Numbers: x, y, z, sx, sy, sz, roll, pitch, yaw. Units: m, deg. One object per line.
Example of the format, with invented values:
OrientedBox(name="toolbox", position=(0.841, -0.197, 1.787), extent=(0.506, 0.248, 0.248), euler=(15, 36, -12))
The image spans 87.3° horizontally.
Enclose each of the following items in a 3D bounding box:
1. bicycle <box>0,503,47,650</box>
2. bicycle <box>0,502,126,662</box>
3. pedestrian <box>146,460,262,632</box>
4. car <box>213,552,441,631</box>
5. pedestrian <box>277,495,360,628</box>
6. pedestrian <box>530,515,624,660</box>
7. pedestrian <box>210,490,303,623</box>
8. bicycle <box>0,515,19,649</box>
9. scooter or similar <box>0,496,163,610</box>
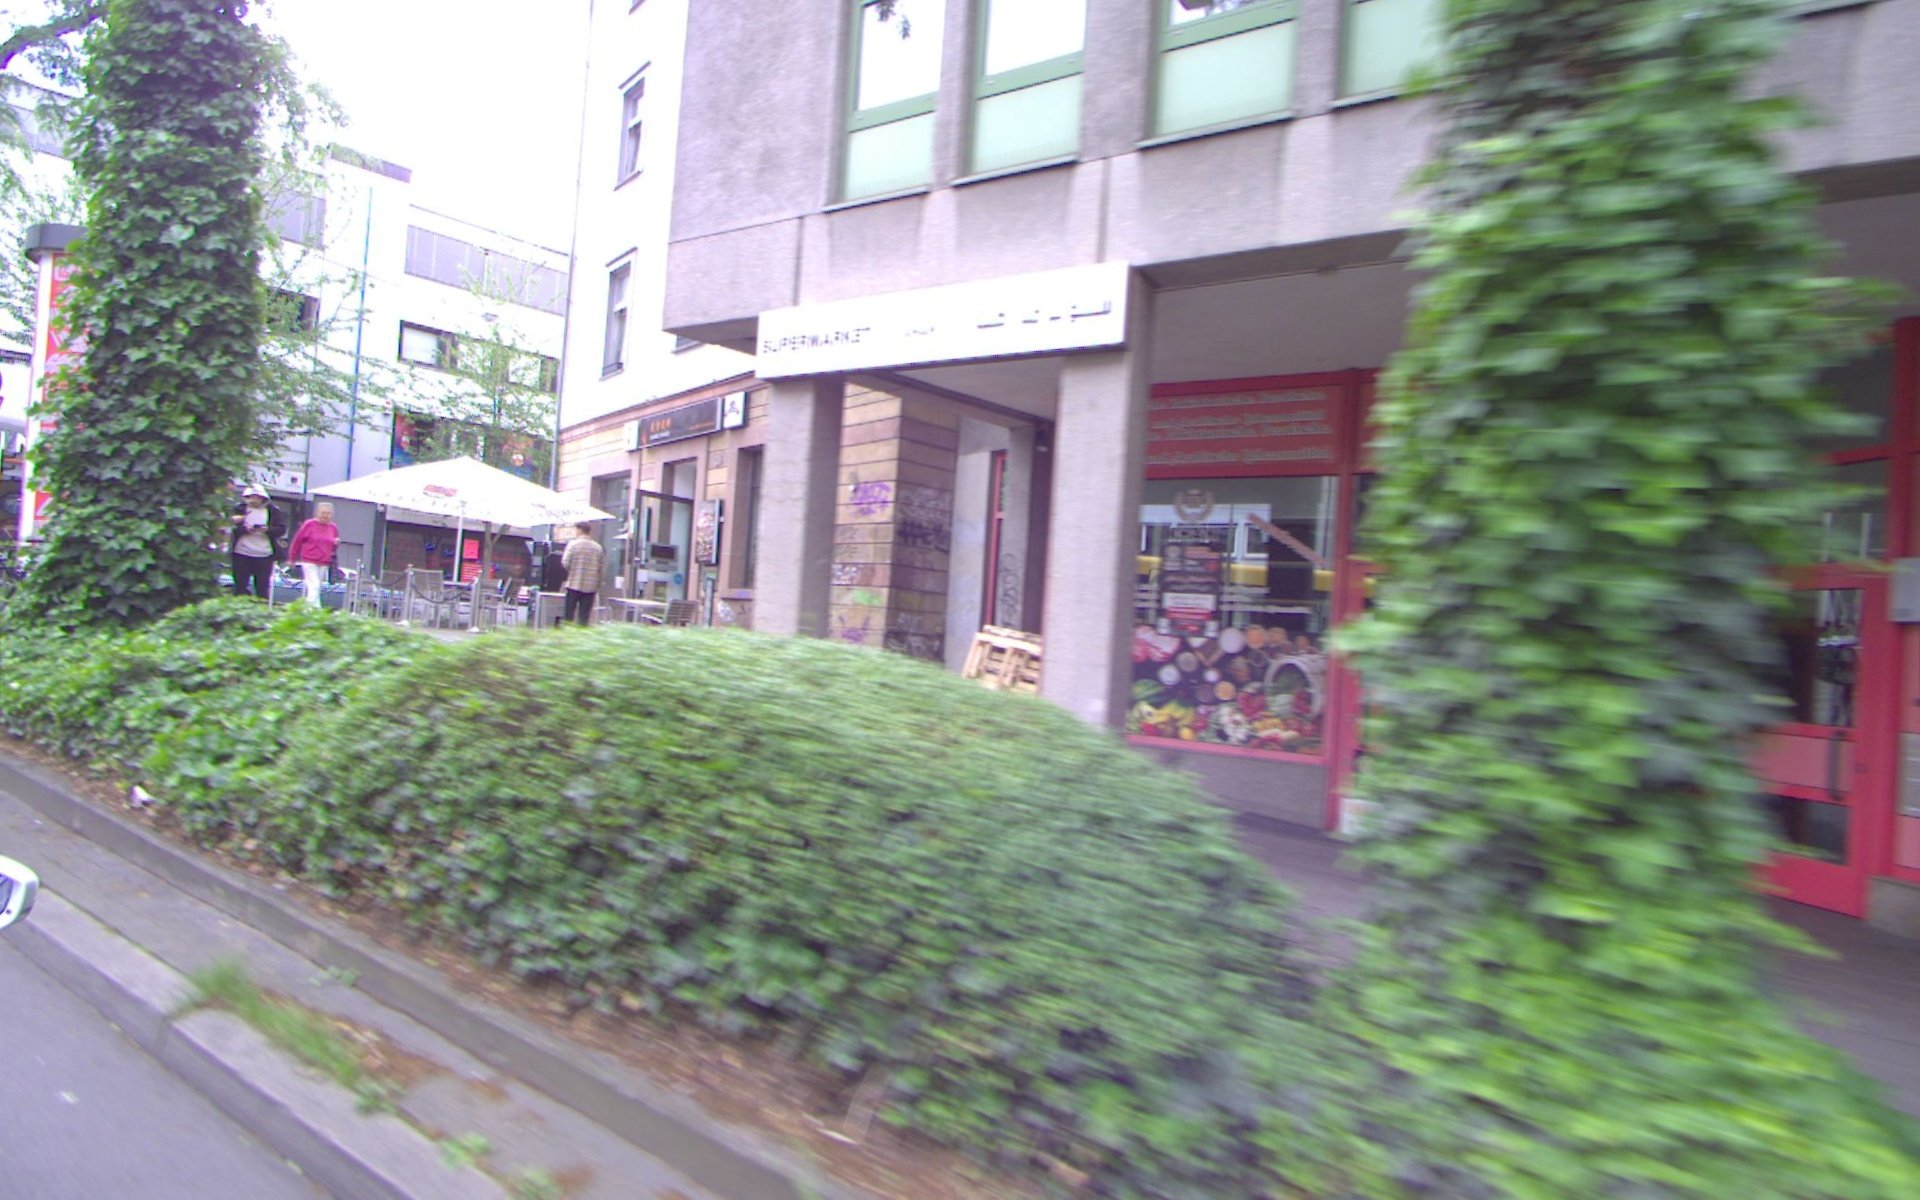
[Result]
OrientedBox(name="bicycle", position=(-8.572, -0.255, 8.041), extent=(0.532, 1.237, 1.744), euler=(7, 0, 27))
OrientedBox(name="bicycle", position=(-7.796, -0.175, 7.949), extent=(0.532, 1.236, 1.691), euler=(7, -1, 27))
OrientedBox(name="pedestrian", position=(-8.994, -0.639, 11.968), extent=(0.867, 1.912, 0.705), euler=(7, -1, 37))
OrientedBox(name="car", position=(-15.942, -0.170, 25.518), extent=(4.567, 1.372, 1.741), euler=(10, -4, -43))
OrientedBox(name="pedestrian", position=(-8.648, -0.517, 13.574), extent=(0.654, 1.700, 0.623), euler=(7, 1, 37))
OrientedBox(name="pedestrian", position=(-5.305, -0.165, 13.925), extent=(0.894, 1.855, 0.730), euler=(8, -1, -31))
OrientedBox(name="pedestrian", position=(-8.761, -0.540, 12.534), extent=(0.654, 1.541, 0.623), euler=(7, -1, 37))
OrientedBox(name="bicycle", position=(-9.391, -0.251, 8.847), extent=(0.532, 1.235, 1.425), euler=(7, -2, 27))
OrientedBox(name="scooter or similar", position=(-11.105, -0.573, 12.756), extent=(1.372, 1.270, 0.628), euler=(5, 0, -24))
